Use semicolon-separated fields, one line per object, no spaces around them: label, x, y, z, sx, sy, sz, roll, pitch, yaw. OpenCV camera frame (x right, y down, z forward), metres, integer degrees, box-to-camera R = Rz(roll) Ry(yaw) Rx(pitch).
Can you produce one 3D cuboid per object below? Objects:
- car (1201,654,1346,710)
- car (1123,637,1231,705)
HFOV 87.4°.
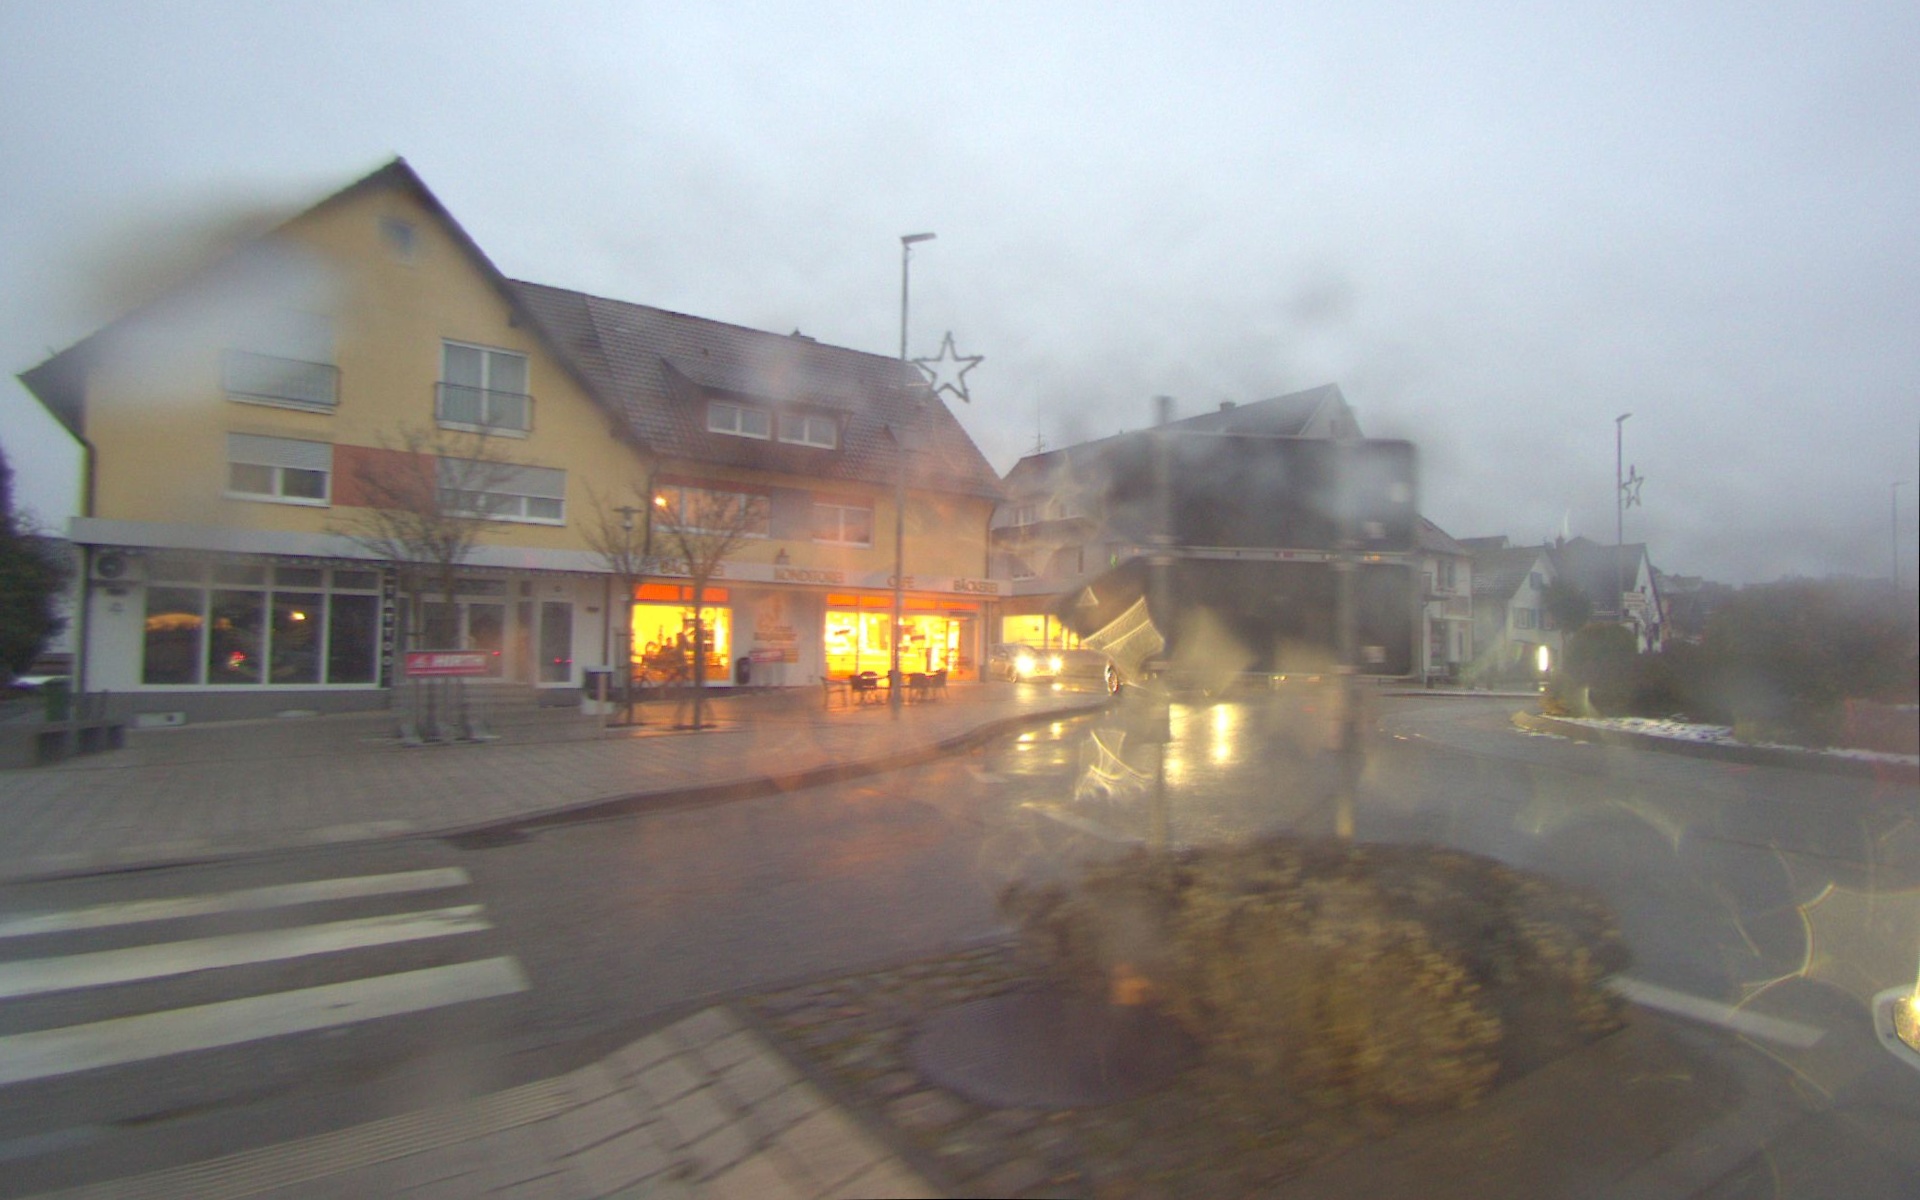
car;10.393;2.675;33.582;1.881;1.632;4.456;2;-2;-35
car;6.020;1.937;28.409;1.916;1.614;4.631;1;-1;-2
